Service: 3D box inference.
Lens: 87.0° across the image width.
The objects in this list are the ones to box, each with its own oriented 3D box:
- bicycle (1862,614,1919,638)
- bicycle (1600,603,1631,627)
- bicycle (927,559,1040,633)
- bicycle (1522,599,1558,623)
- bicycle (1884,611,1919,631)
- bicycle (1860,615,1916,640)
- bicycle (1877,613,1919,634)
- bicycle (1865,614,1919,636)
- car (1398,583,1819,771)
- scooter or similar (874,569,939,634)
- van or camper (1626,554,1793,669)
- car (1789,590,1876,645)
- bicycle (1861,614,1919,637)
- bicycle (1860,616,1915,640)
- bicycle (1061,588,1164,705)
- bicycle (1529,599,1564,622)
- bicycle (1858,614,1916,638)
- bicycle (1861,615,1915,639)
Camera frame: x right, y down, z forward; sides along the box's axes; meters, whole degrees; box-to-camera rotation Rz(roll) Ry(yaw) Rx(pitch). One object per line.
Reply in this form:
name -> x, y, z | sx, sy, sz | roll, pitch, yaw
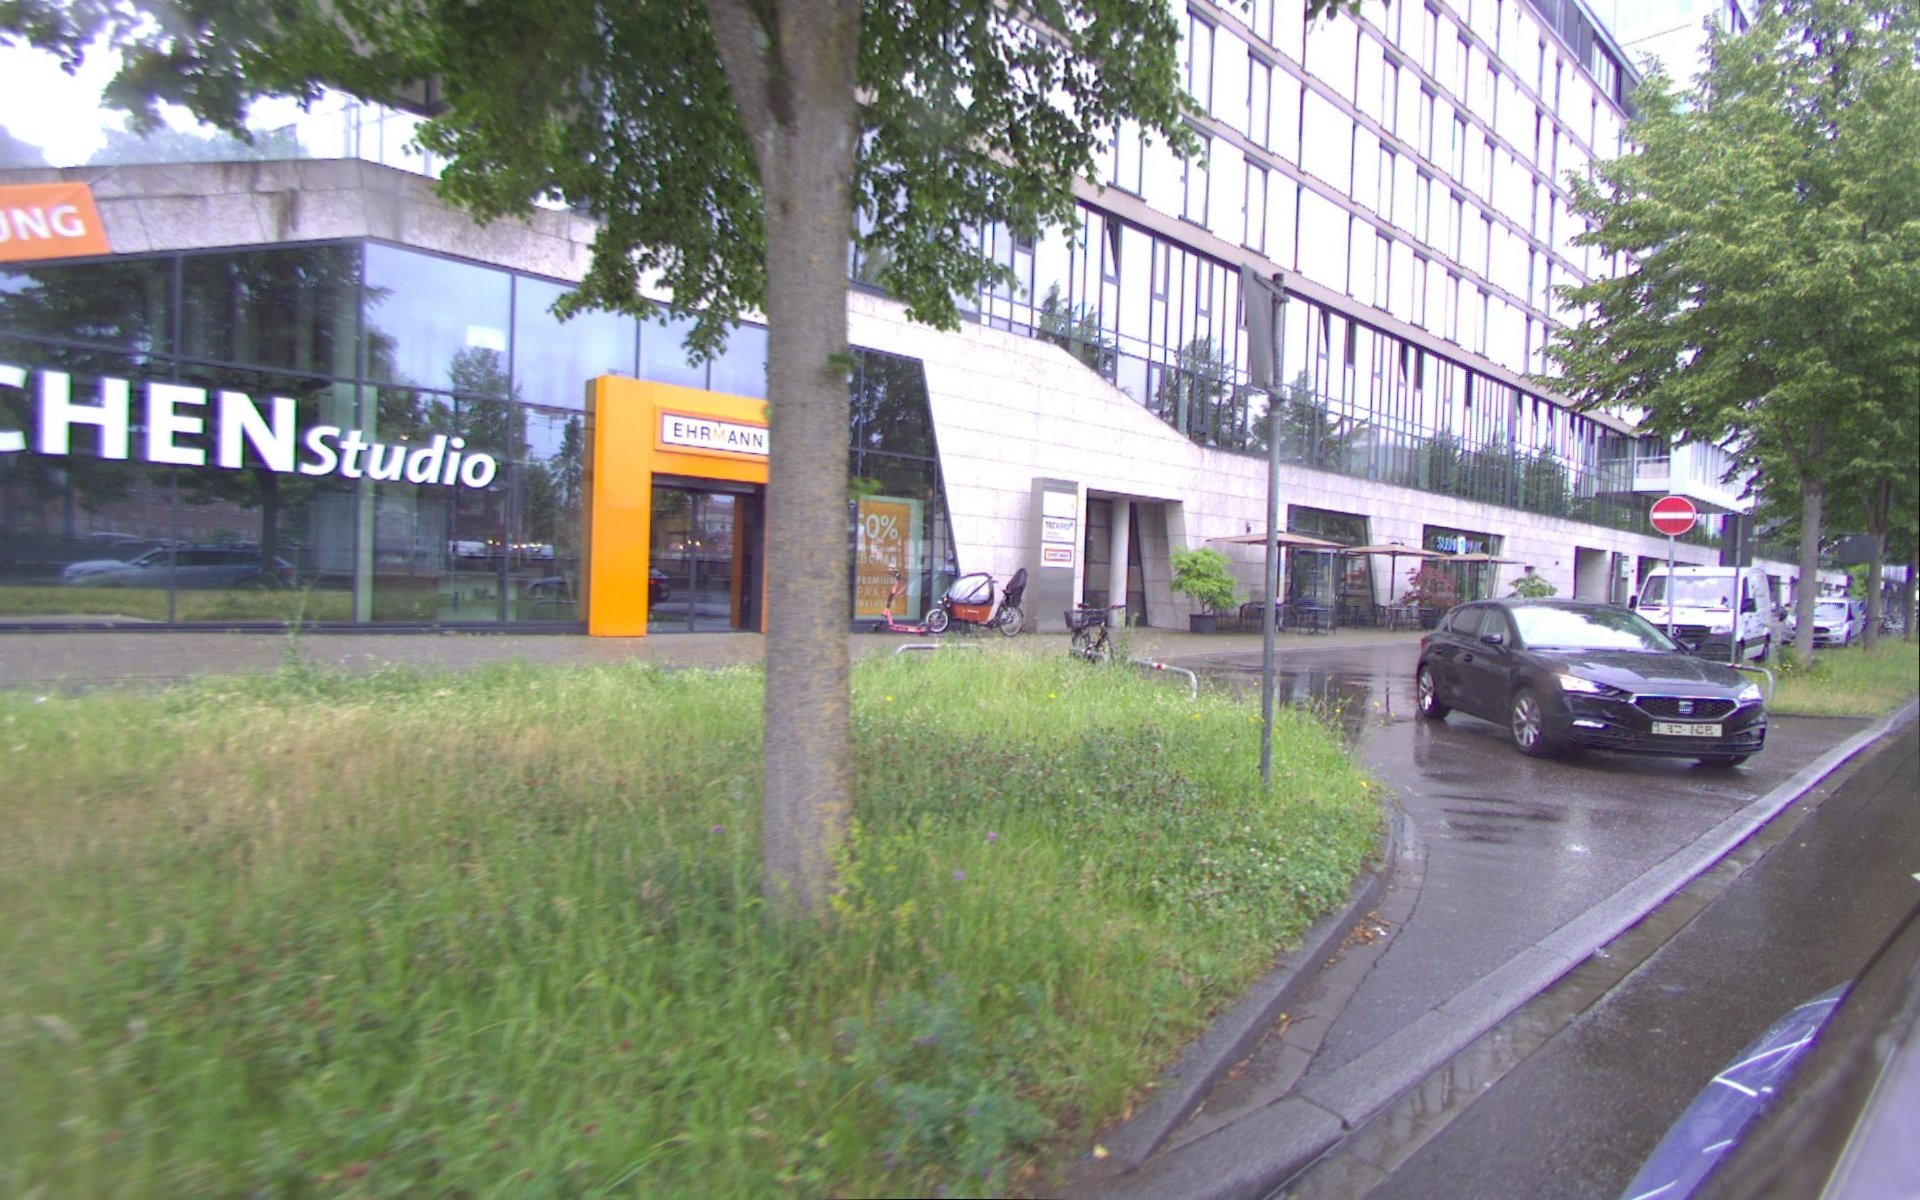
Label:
bicycle -> 39.948, 1.103, 43.426 | 1.857, 0.958, 0.389 | 0, 0, 45
bicycle -> 27.218, 0.627, 42.010 | 1.823, 0.957, 0.403 | 0, 1, -35
bicycle -> 0.509, -0.061, 20.830 | 2.382, 1.419, 0.734 | 1, 2, -41
bicycle -> 23.661, 0.428, 41.295 | 0.388, 0.958, 2.028 | 0, 0, 3
bicycle -> 46.260, 1.010, 49.155 | 2.035, 0.958, 0.511 | 0, 0, 45
bicycle -> 38.120, 1.120, 41.579 | 1.662, 0.958, 0.389 | 0, 0, 45
bicycle -> 43.945, 1.085, 46.953 | 2.035, 0.958, 0.459 | 0, 0, 45
bicycle -> 41.074, 1.097, 44.377 | 0.389, 0.958, 2.035 | 0, 0, -45
car -> 6.072, 0.569, 10.215 | 1.801, 1.438, 4.339 | 1, 1, 6
scooter or similar -> -1.045, 0.031, 19.705 | 1.214, 1.243, 0.343 | 0, 0, -22
van or camper -> 17.008, 0.200, 22.859 | 5.367, 2.321, 2.028 | 0, 1, -43
car -> 30.450, 0.566, 35.256 | 4.766, 1.781, 1.744 | 0, 1, -43
bicycle -> 40.316, 1.100, 43.840 | 1.878, 0.958, 0.389 | 0, 0, 45
bicycle -> 38.582, 1.143, 42.113 | 1.694, 0.958, 0.389 | 0, 0, 45
bicycle -> 1.891, 0.546, 12.839 | 0.521, 1.363, 1.852 | 2, 0, -16
bicycle -> 24.297, 0.426, 41.965 | 0.388, 0.958, 2.028 | 0, 0, 3
bicycle -> 39.399, 1.106, 43.029 | 1.788, 0.958, 0.389 | 0, 0, 45
bicycle -> 39.066, 1.142, 42.625 | 1.645, 0.958, 0.389 | 0, 0, 45
